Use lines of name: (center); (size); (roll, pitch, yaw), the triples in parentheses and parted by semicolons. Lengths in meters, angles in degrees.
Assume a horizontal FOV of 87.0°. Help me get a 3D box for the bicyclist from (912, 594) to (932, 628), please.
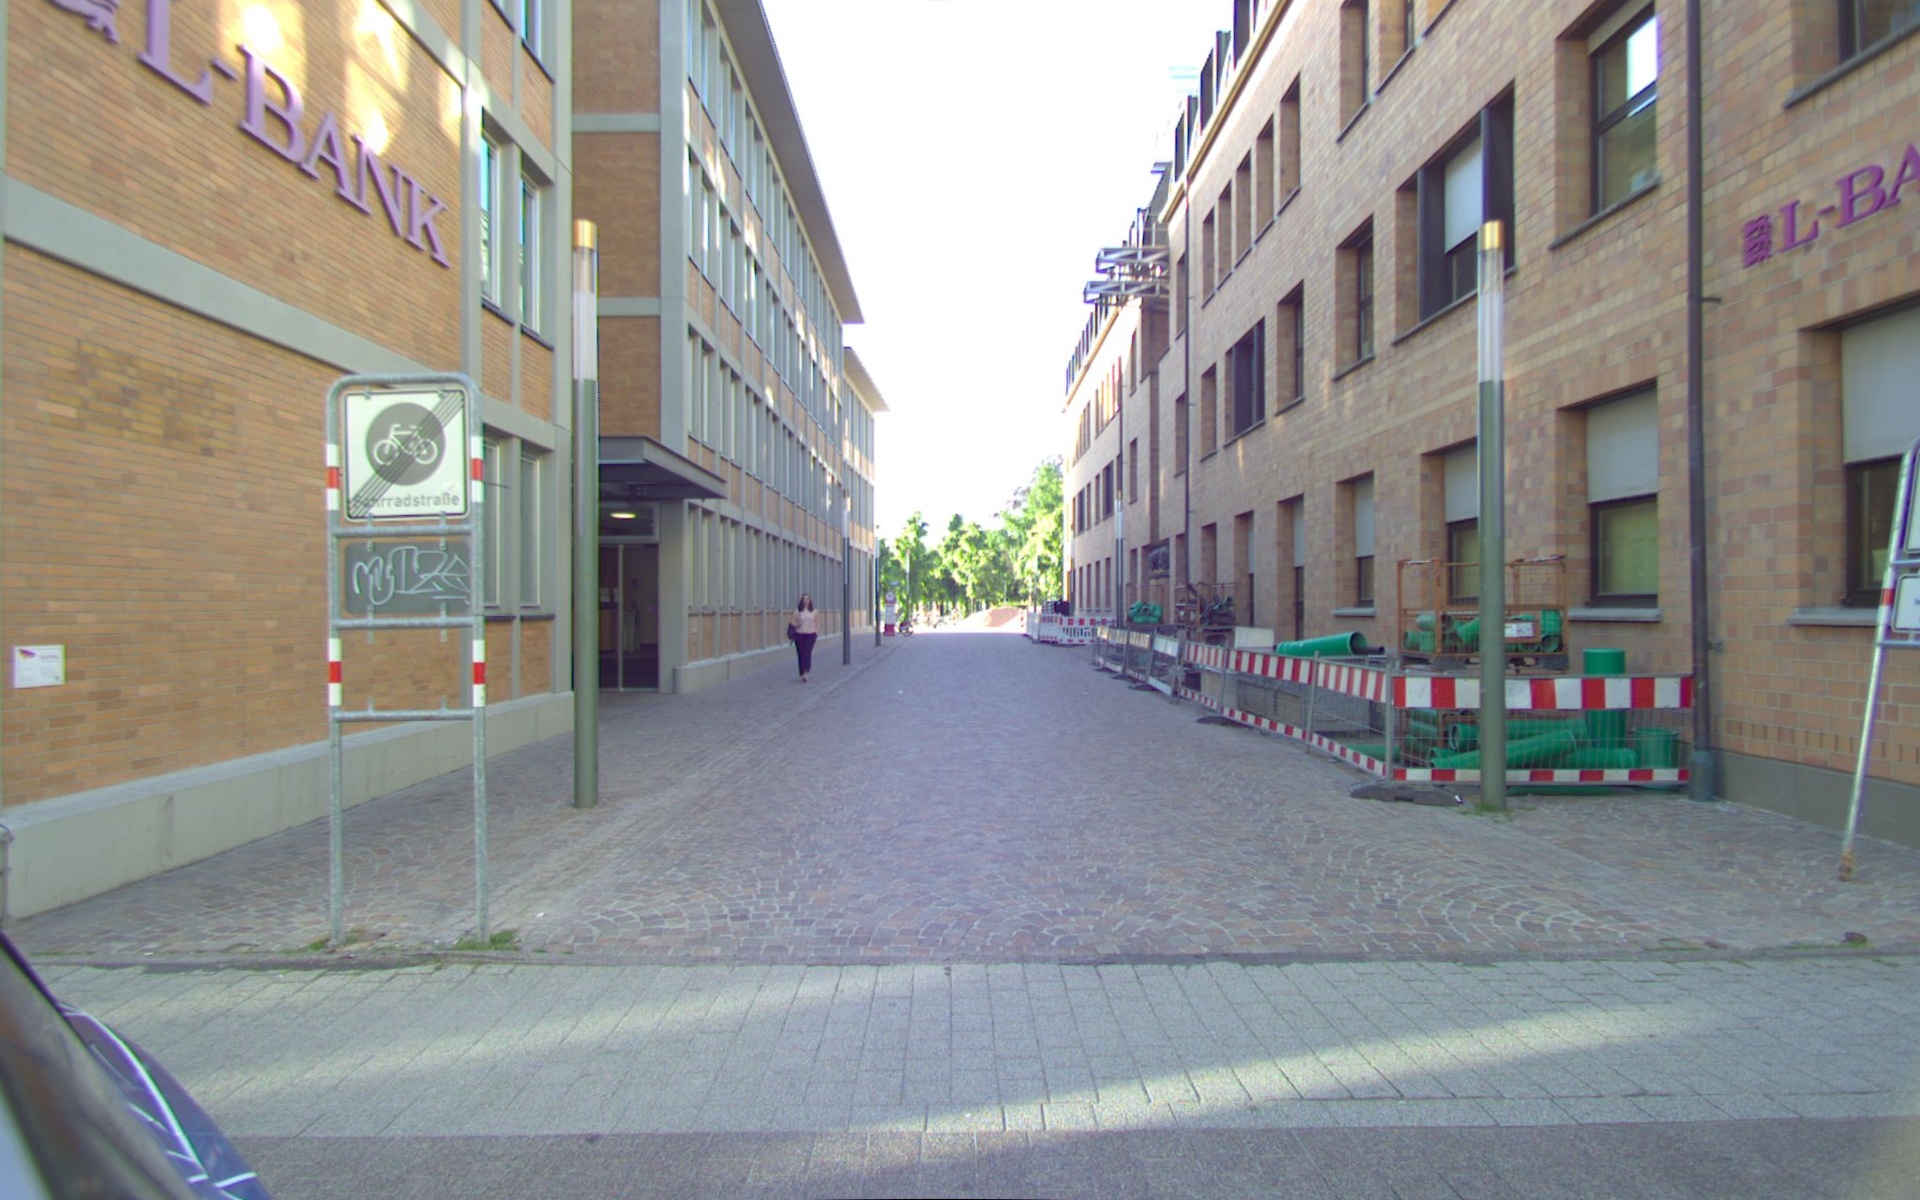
bicyclist: (-2.258, 0.643, 60.619); (1.082, 2.029, 1.002); (0, 0, 4)

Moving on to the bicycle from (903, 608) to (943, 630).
bicycle: (-2.212, 1.133, 60.587); (2.302, 1.282, 0.779); (0, 0, 3)

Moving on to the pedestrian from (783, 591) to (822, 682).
pedestrian: (-3.171, 0.729, 20.359); (0.683, 1.793, 0.697); (0, 0, -1)

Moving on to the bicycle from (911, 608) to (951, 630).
bicycle: (-1.699, 1.126, 59.607); (2.302, 1.282, 0.779); (0, 0, 3)

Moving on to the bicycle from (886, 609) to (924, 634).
bicycle: (-2.949, 1.150, 54.402); (2.043, 1.270, 0.725); (0, 0, -43)

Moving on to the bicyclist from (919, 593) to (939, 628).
bicyclist: (-1.802, 0.637, 59.551); (1.082, 2.029, 1.002); (0, 0, 4)
